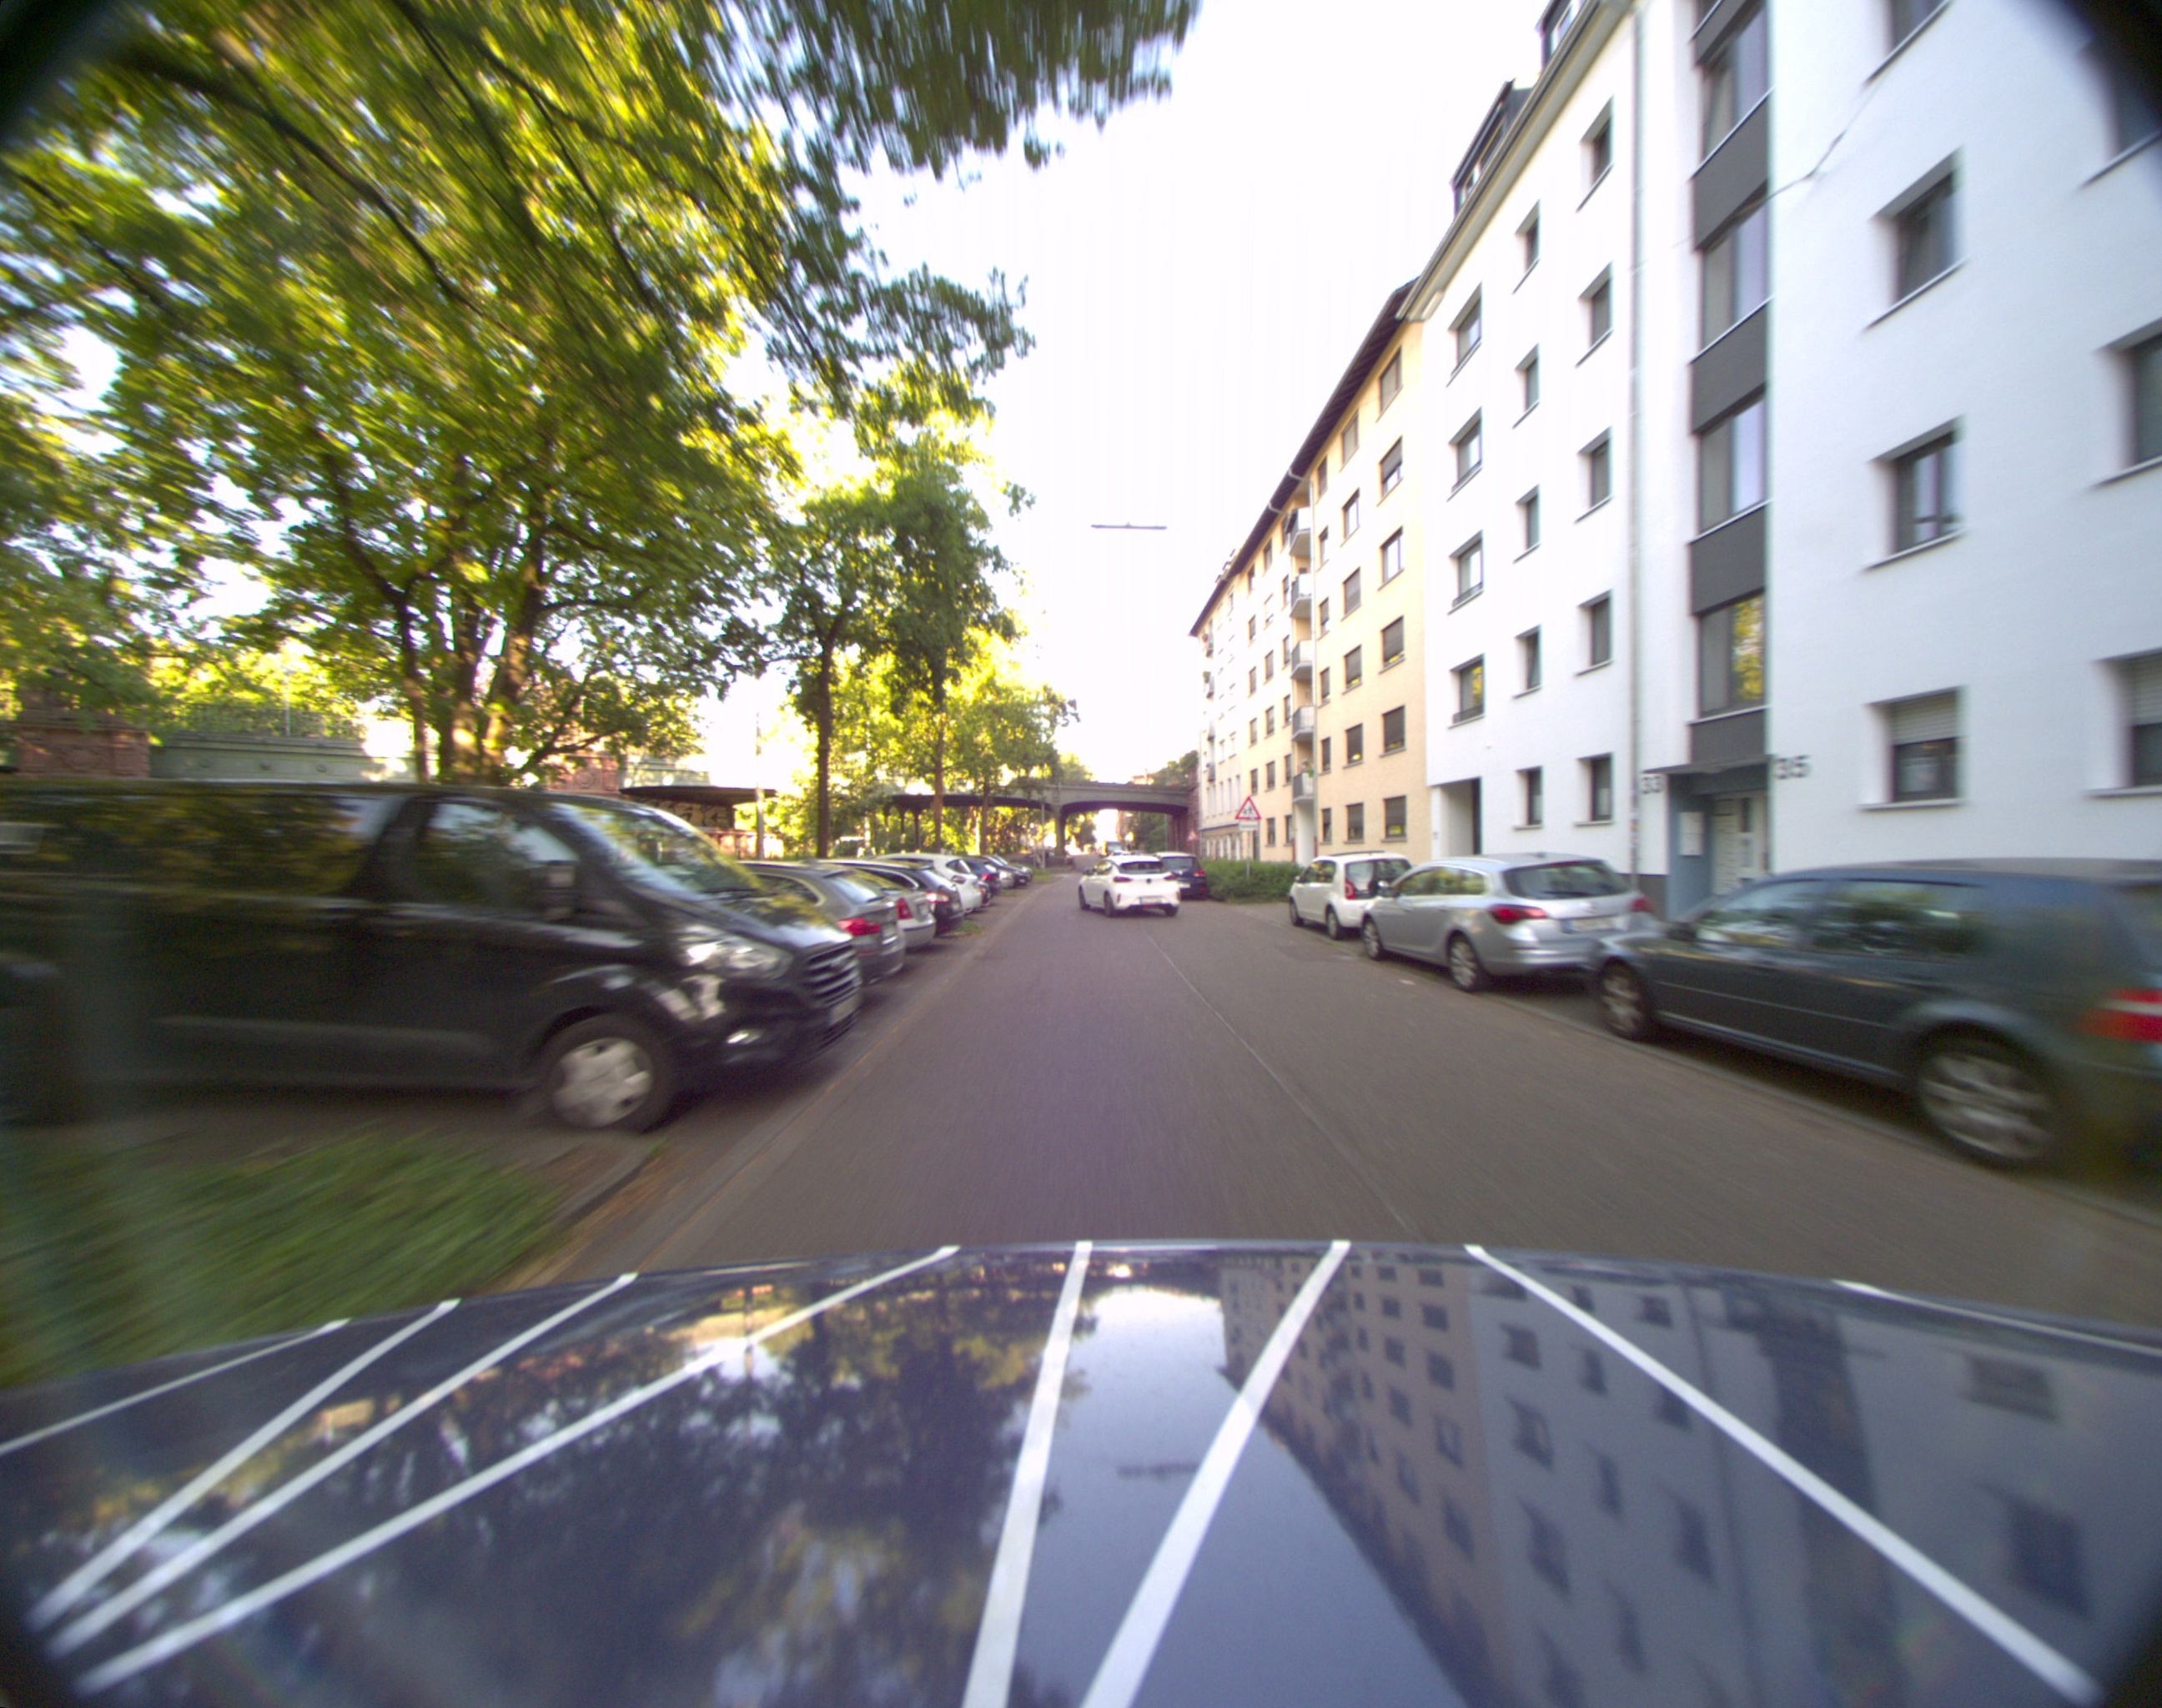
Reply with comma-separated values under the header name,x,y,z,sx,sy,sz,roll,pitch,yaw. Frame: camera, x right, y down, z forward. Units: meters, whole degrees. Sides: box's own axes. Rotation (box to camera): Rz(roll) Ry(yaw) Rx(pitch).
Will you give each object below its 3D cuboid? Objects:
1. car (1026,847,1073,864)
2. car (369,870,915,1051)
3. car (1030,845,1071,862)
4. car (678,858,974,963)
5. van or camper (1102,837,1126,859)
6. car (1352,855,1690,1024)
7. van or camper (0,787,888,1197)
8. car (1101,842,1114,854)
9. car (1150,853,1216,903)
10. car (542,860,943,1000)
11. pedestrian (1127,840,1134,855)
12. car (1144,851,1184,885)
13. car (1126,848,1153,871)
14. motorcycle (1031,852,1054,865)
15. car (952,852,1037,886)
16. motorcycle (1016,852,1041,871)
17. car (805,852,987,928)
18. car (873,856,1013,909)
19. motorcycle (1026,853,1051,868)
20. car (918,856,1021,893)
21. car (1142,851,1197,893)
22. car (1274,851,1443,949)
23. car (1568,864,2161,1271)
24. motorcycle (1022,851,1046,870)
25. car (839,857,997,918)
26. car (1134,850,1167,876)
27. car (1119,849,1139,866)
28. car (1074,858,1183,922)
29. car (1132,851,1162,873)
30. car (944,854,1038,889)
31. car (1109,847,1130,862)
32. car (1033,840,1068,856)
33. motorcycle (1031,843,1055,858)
name,x,y,z,sx,sy,sz,roll,pitch,yaw
car,-3.195,0.121,78.068,4.596,1.597,1.734,-1,2,4
car,-4.078,0.965,7.711,4.411,1.492,1.836,0,2,-3
car,-3.394,-0.071,85.914,4.544,1.686,1.906,-2,2,-2
car,-4.182,0.886,12.849,4.408,1.569,1.664,0,2,5
van or camper,3.920,-0.775,91.446,2.242,2.509,6.417,-2,2,-3
car,4.951,0.823,9.378,1.672,1.463,4.283,-4,0,1
van or camper,-4.217,0.676,4.850,5.426,2.015,2.030,0,0,2
car,3.677,-0.808,105.676,1.703,1.489,4.548,1,2,2
car,3.252,0.722,24.927,1.743,1.471,4.000,0,1,2
car,-4.167,0.903,9.802,4.409,1.569,1.664,0,2,2
pedestrian,6.539,-0.902,100.706,0.639,1.904,1.046,-2,2,-6
car,3.860,0.619,35.693,1.570,1.509,3.782,0,1,2
car,4.557,0.376,59.768,1.721,1.698,4.321,0,1,-2
motorcycle,-3.310,0.398,65.463,1.729,1.024,0.810,-3,3,-34
car,-3.926,0.669,34.979,3.793,1.464,1.634,0,2,-4
motorcycle,-3.870,0.550,56.214,1.601,1.400,0.713,-1,3,20
car,-4.177,0.790,17.573,3.791,1.637,1.664,0,2,1
car,-4.070,0.817,22.760,3.790,1.439,1.664,0,2,5
motorcycle,-3.448,0.492,61.418,1.839,1.126,0.849,-3,3,-23
car,-4.342,0.789,30.019,3.792,1.394,1.663,0,2,0
car,3.449,0.649,30.147,1.707,1.516,3.773,0,1,0
car,5.071,0.750,14.480,1.672,1.499,3.999,-4,0,0
car,5.064,0.858,4.707,1.619,1.443,4.000,-3,0,2
motorcycle,-3.510,0.506,57.122,1.601,1.400,0.713,-1,3,20
car,-4.254,0.858,20.211,3.791,1.465,1.664,0,2,2
car,4.251,0.543,46.910,1.641,1.458,4.000,2,1,1
car,4.735,0.306,75.605,1.599,1.538,3.913,0,1,-3
car,1.083,0.842,19.217,1.674,1.422,3.996,2,-1,-12
car,4.494,0.537,52.230,1.693,1.433,3.999,0,1,1
car,-3.824,0.730,32.691,3.791,1.394,1.827,0,2,1
car,4.306,0.042,85.263,1.749,1.458,4.372,-2,2,-4
car,-4.150,-0.825,103.177,4.684,1.914,1.871,1,2,-2
motorcycle,-3.363,-0.283,67.160,1.938,1.231,0.902,-3,3,-25
